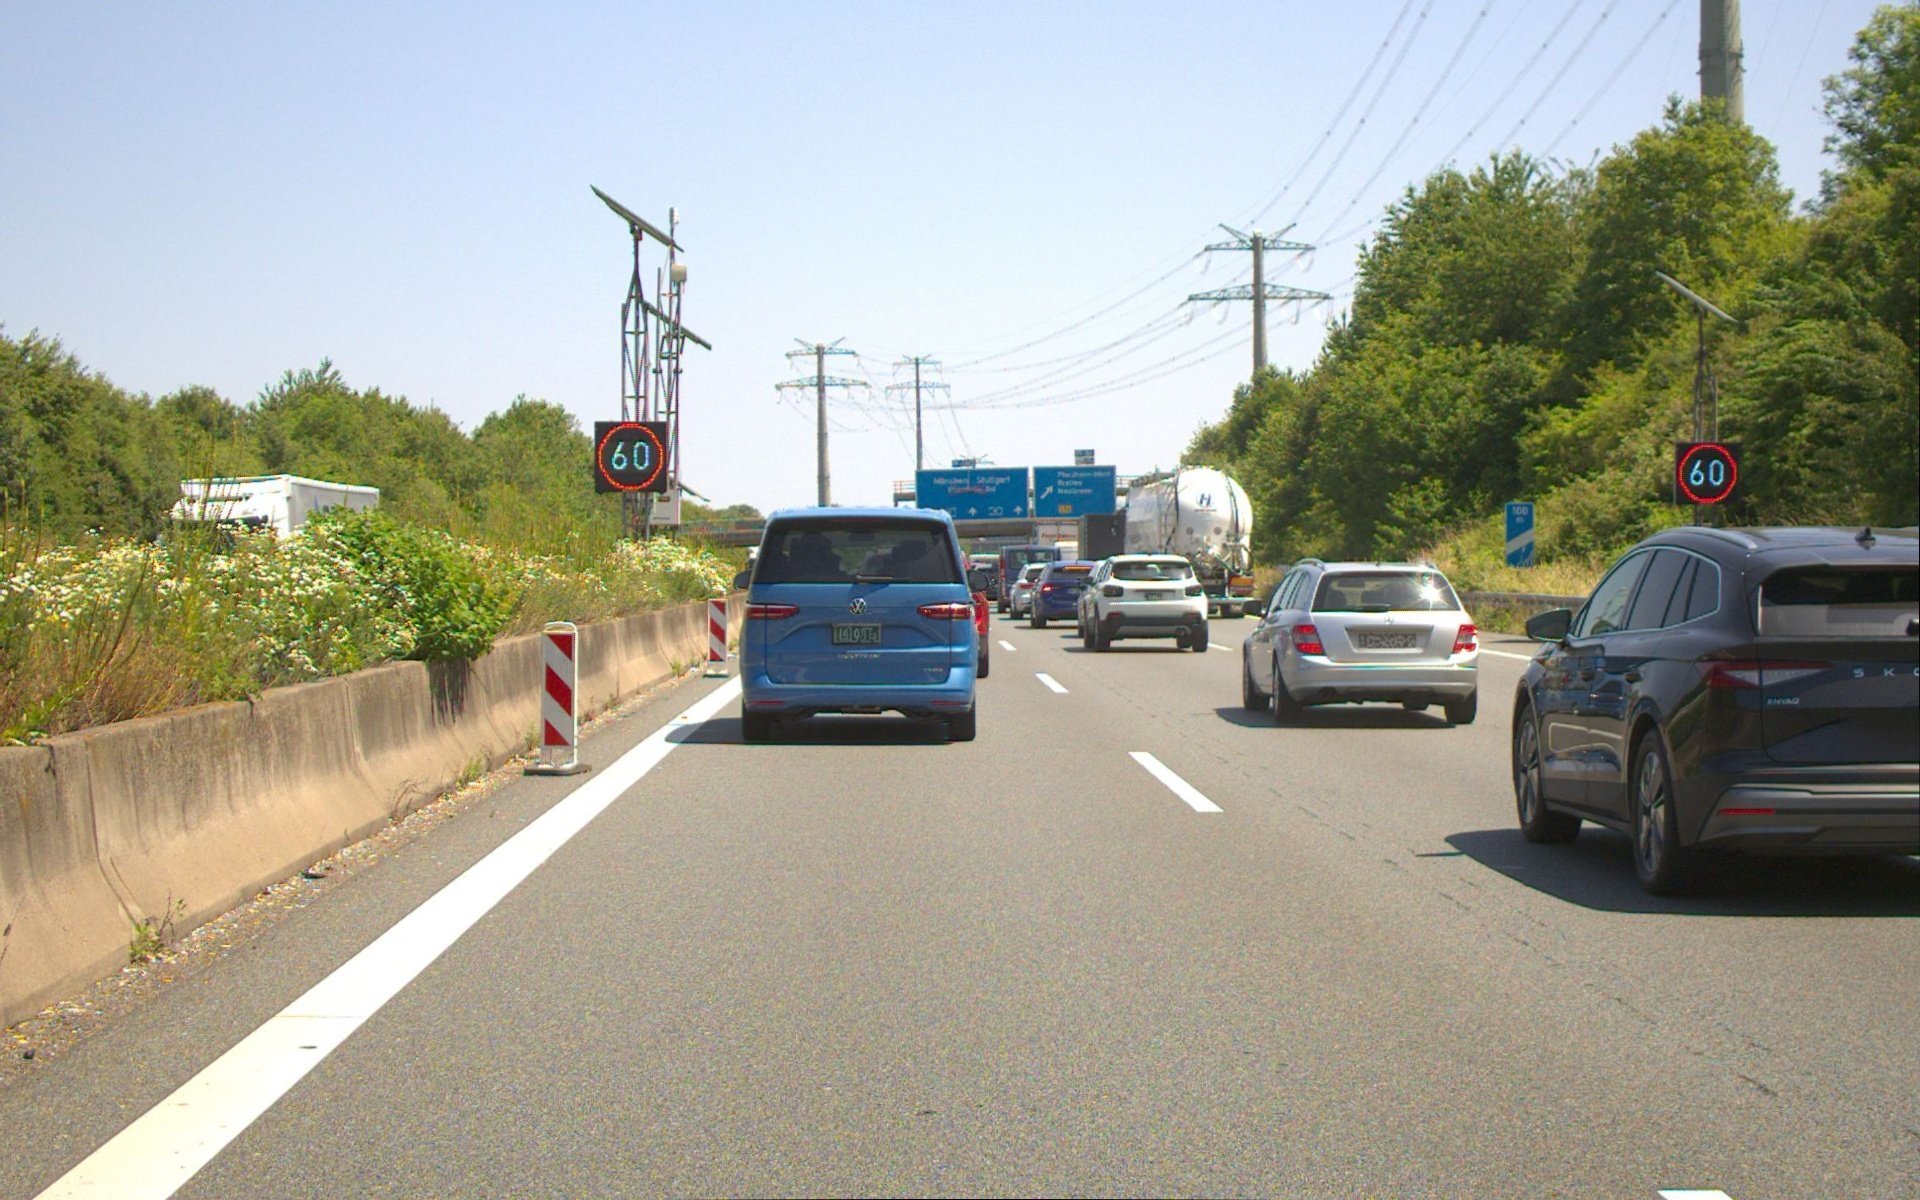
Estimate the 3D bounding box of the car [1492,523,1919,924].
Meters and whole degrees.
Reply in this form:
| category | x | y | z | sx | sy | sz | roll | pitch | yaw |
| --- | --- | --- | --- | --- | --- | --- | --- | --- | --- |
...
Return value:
| category | x | y | z | sx | sy | sz | roll | pitch | yaw |
| --- | --- | --- | --- | --- | --- | --- | --- | --- | --- |
| car | 3.812 | 0.460 | 16.037 | 1.828 | 1.609 | 4.431 | 0 | 1 | -2 |

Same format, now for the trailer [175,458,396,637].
| category | x | y | z | sx | sy | sz | roll | pitch | yaw |
| --- | --- | --- | --- | --- | --- | --- | --- | --- | --- |
| trailer | -17.407 | -1.361 | 89.890 | 3.016 | 4.152 | 14.021 | -3 | 1 | -1 |

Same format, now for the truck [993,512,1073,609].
| category | x | y | z | sx | sy | sz | roll | pitch | yaw |
| --- | --- | --- | --- | --- | --- | --- | --- | --- | --- |
| truck | 2.109 | -1.164 | 100.746 | 1.993 | 2.714 | 5.680 | 1 | 1 | -2 |

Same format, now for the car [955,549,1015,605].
| category | x | y | z | sx | sy | sz | roll | pitch | yaw |
| --- | --- | --- | --- | --- | --- | --- | --- | --- | --- |
| car | 0.903 | -0.852 | 125.408 | 1.993 | 2.007 | 4.000 | 1 | 1 | -2 |

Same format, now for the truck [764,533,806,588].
| category | x | y | z | sx | sy | sz | roll | pitch | yaw |
| --- | --- | --- | --- | --- | --- | --- | --- | --- | --- |
| truck | -13.150 | -3.003 | 258.990 | 2.762 | 3.875 | 9.030 | -3 | 1 | -2 |

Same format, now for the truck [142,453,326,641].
| category | x | y | z | sx | sy | sz | roll | pitch | yaw |
| --- | --- | --- | --- | --- | --- | --- | --- | --- | --- |
| truck | -17.273 | -1.262 | 82.155 | 3.016 | 4.152 | 5.806 | -3 | 1 | -1 |

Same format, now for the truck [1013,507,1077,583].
| category | x | y | z | sx | sy | sz | roll | pitch | yaw |
| --- | --- | --- | --- | --- | --- | --- | --- | --- | --- |
| truck | 4.900 | -3.186 | 200.278 | 2.937 | 4.276 | 12.553 | 1 | 1 | -2 |

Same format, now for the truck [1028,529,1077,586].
| category | x | y | z | sx | sy | sz | roll | pitch | yaw |
| --- | --- | --- | --- | --- | --- | --- | --- | --- | --- |
| truck | 4.495 | -2.061 | 167.515 | 1.993 | 2.714 | 5.680 | 1 | 1 | -2 |

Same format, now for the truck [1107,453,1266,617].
| category | x | y | z | sx | sy | sz | roll | pitch | yaw |
| --- | --- | --- | --- | --- | --- | --- | --- | --- | --- |
| truck | 6.009 | -1.733 | 94.152 | 2.644 | 4.058 | 16.442 | 1 | 1 | -2 |

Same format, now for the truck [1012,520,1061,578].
| category | x | y | z | sx | sy | sz | roll | pitch | yaw |
| --- | --- | --- | --- | --- | --- | --- | --- | --- | --- |
| truck | 5.804 | -3.858 | 262.951 | 2.937 | 4.276 | 12.553 | 1 | 1 | -2 |

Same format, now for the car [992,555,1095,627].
| category | x | y | z | sx | sy | sz | roll | pitch | yaw |
| --- | --- | --- | --- | --- | --- | --- | --- | --- | --- |
| car | 1.787 | -0.217 | 75.215 | 1.908 | 1.511 | 4.384 | 1 | 1 | -3 |

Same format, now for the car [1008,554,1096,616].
| category | x | y | z | sx | sy | sz | roll | pitch | yaw |
| --- | --- | --- | --- | --- | --- | --- | --- | --- | --- |
| car | 2.313 | -0.400 | 87.559 | 1.908 | 1.511 | 4.384 | 1 | 1 | -3 |

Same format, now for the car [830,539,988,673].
| category | x | y | z | sx | sy | sz | roll | pitch | yaw |
| --- | --- | --- | --- | --- | --- | --- | --- | --- | --- |
| car | -0.693 | 0.047 | 43.830 | 1.908 | 1.625 | 4.384 | 0 | 1 | -2 |

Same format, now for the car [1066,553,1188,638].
| category | x | y | z | sx | sy | sz | roll | pitch | yaw |
| --- | --- | --- | --- | --- | --- | --- | --- | --- | --- |
| car | 3.191 | -0.115 | 66.324 | 1.908 | 1.564 | 4.384 | 1 | 1 | -3 |

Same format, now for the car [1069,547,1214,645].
| category | x | y | z | sx | sy | sz | roll | pitch | yaw |
| --- | --- | --- | --- | --- | --- | --- | --- | --- | --- |
| car | 2.886 | -0.082 | 55.420 | 1.908 | 1.503 | 3.922 | 1 | 1 | -3 |

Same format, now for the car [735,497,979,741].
| category | x | y | z | sx | sy | sz | roll | pitch | yaw |
| --- | --- | --- | --- | --- | --- | --- | --- | --- | --- |
| car | -0.917 | 0.122 | 28.864 | 1.871 | 1.873 | 4.384 | 1 | 1 | -3 |

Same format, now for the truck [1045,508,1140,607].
| category | x | y | z | sx | sy | sz | roll | pitch | yaw |
| --- | --- | --- | --- | --- | --- | --- | --- | --- | --- |
| truck | 4.946 | -1.611 | 130.846 | 2.644 | 3.526 | 12.553 | 1 | 1 | -2 |

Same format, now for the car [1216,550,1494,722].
| category | x | y | z | sx | sy | sz | roll | pitch | yaw |
| --- | --- | --- | --- | --- | --- | --- | --- | --- | --- |
| car | 3.525 | 0.280 | 31.436 | 1.821 | 1.432 | 4.384 | 1 | 1 | -3 |
